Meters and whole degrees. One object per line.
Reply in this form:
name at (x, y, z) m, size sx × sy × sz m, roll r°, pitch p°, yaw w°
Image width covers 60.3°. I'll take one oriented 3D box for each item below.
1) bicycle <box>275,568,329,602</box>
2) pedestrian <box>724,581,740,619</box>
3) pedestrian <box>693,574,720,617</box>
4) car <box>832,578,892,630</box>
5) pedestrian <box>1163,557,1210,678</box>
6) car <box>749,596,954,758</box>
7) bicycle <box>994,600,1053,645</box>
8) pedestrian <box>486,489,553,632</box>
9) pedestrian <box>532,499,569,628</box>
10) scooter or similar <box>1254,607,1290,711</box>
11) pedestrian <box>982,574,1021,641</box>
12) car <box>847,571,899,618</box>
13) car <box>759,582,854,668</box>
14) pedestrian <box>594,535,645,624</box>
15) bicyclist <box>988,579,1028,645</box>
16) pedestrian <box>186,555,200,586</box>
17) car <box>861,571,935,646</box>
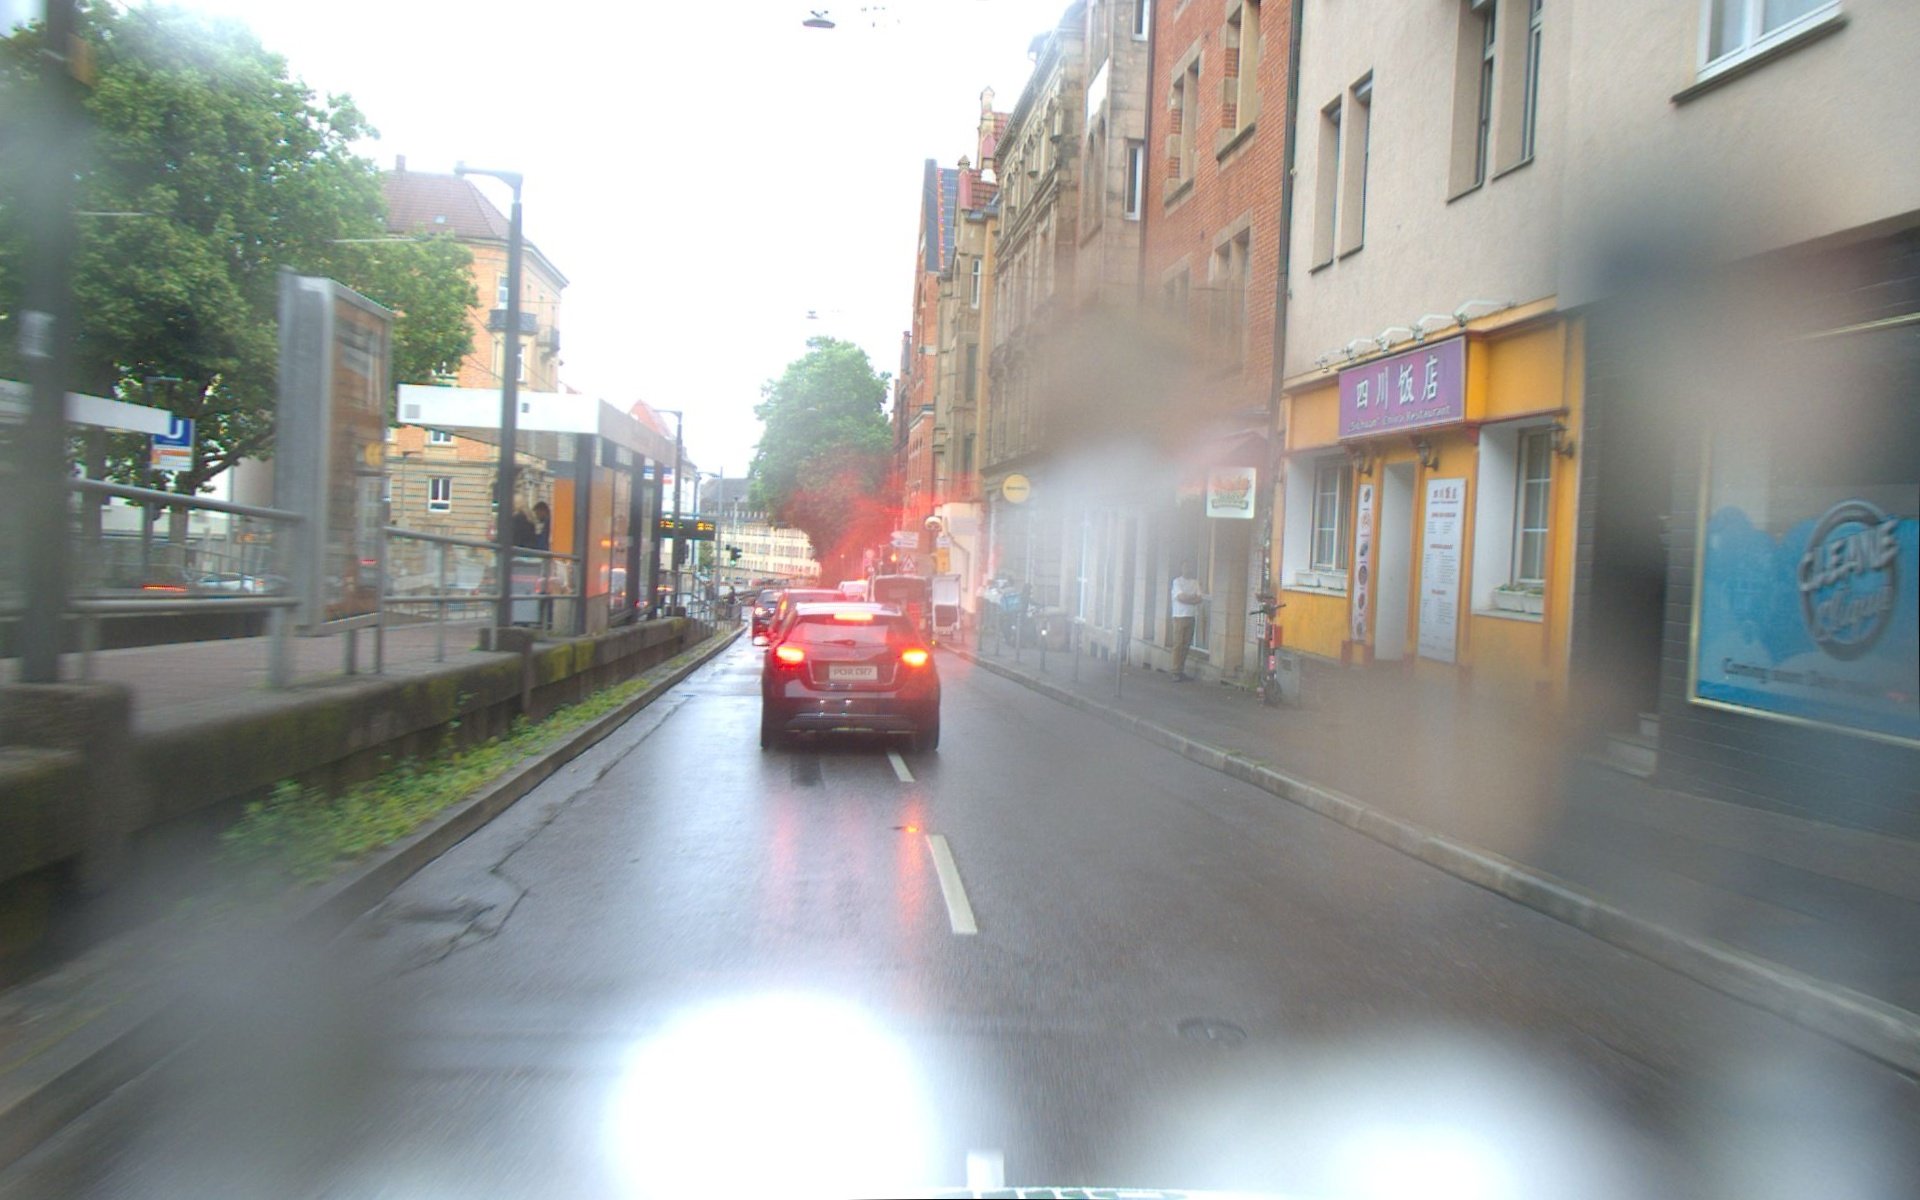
bicycle at (-25.194, -0.564, 63.373) m, size 1.841 × 1.216 × 0.515 m, roll 2°, pitch 0°, yaw -17°
pedestrian at (-9.344, -0.002, 67.790) m, size 0.522 × 1.557 × 0.435 m, roll 2°, pitch 0°, yaw -14°
pedestrian at (-10.361, -0.184, 67.699) m, size 0.728 × 1.754 × 0.737 m, roll 2°, pitch 0°, yaw 41°
car at (-3.827, 0.125, 64.028) m, size 1.897 × 1.863 × 4.273 m, roll 2°, pitch 1°, yaw -8°
pedestrian at (3.533, 0.271, 25.811) m, size 0.567 × 1.862 × 0.563 m, roll -1°, pitch 0°, yaw -8°
car at (-1.160, 0.719, 17.402) m, size 1.858 × 1.414 × 3.996 m, roll 2°, pitch 0°, yaw -5°
bicycle at (1.640, 0.583, 42.489) m, size 1.675 × 1.135 × 0.457 m, roll 1°, pitch 0°, yaw -43°
pedestrian at (-5.145, -0.453, 19.332) m, size 0.485 × 1.633 × 0.637 m, roll 2°, pitch 0°, yaw 11°
pedestrian at (-5.283, -0.465, 21.347) m, size 0.402 × 1.633 × 0.449 m, roll 2°, pitch 0°, yaw -11°
scooter or similar at (3.926, 0.730, 20.825) m, size 0.252 × 1.243 × 1.195 m, roll 2°, pitch 1°, yaw 4°
pedestrian at (1.124, 0.207, 44.750) m, size 0.673 × 1.784 × 0.833 m, roll 1°, pitch 0°, yaw 36°
car at (-3.000, -0.214, 56.762) m, size 1.679 × 1.494 × 4.278 m, roll 2°, pitch 0°, yaw -4°
car at (-3.000, 0.439, 31.815) m, size 1.648 × 1.515 × 3.607 m, roll 1°, pitch 1°, yaw -7°
pedestrian at (-4.932, -0.293, 23.964) m, size 0.601 × 1.248 × 0.507 m, roll 2°, pitch 0°, yaw -2°
bicyclist at (1.236, 0.296, 42.762) m, size 0.843 × 1.686 × 0.622 m, roll 1°, pitch 0°, yaw -43°
pedestrian at (-41.509, -1.621, 89.501) m, size 0.478 × 1.650 × 0.514 m, roll 2°, pitch 0°, yaw 45°
car at (-1.819, 0.211, 47.442) m, size 1.883 × 1.969 × 4.681 m, roll 2°, pitch 0°, yaw -4°
